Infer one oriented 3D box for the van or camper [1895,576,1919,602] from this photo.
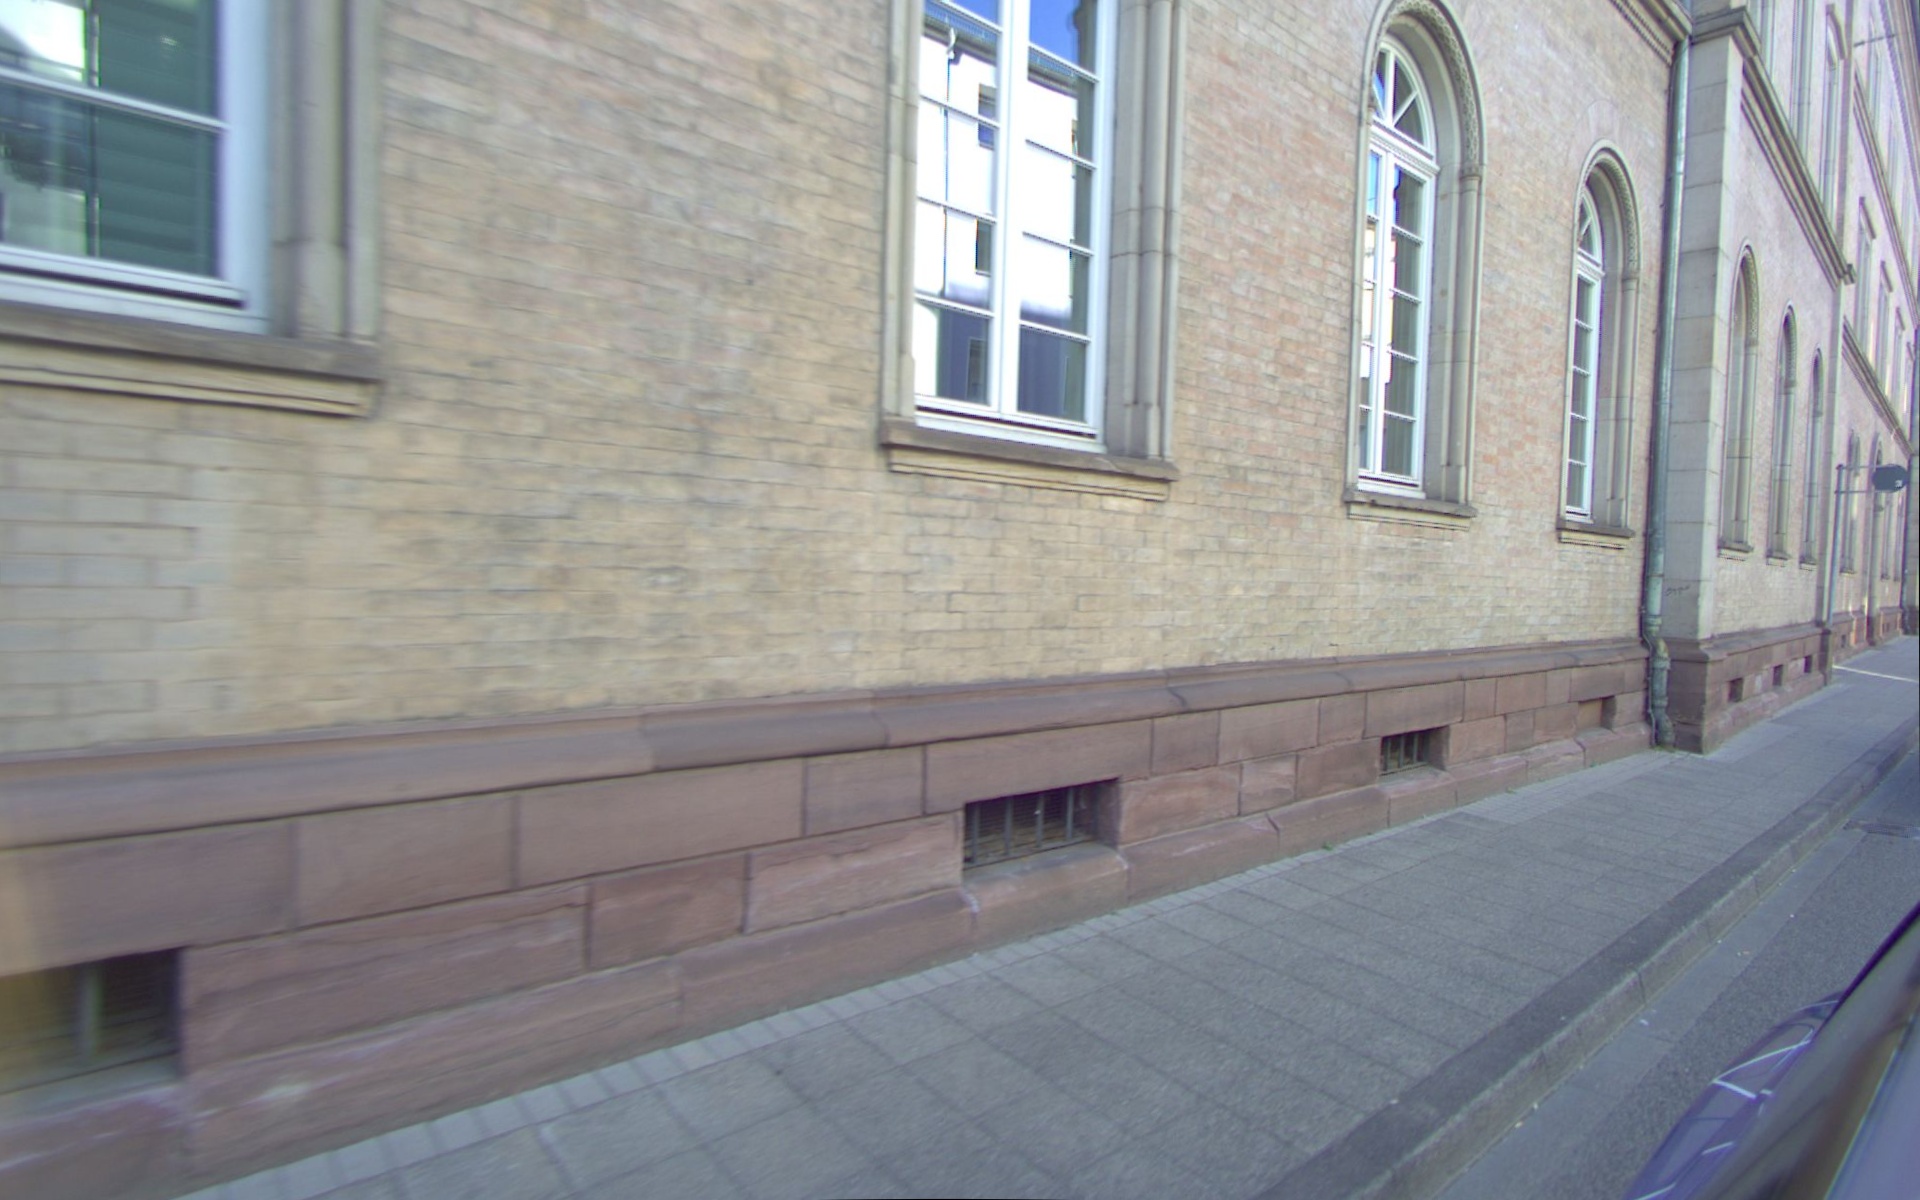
[{"bbox_3d":[80.213,-0.928,84.655,2.149,2.038,4.915,3,3,35],"label":"van or camper"}]
